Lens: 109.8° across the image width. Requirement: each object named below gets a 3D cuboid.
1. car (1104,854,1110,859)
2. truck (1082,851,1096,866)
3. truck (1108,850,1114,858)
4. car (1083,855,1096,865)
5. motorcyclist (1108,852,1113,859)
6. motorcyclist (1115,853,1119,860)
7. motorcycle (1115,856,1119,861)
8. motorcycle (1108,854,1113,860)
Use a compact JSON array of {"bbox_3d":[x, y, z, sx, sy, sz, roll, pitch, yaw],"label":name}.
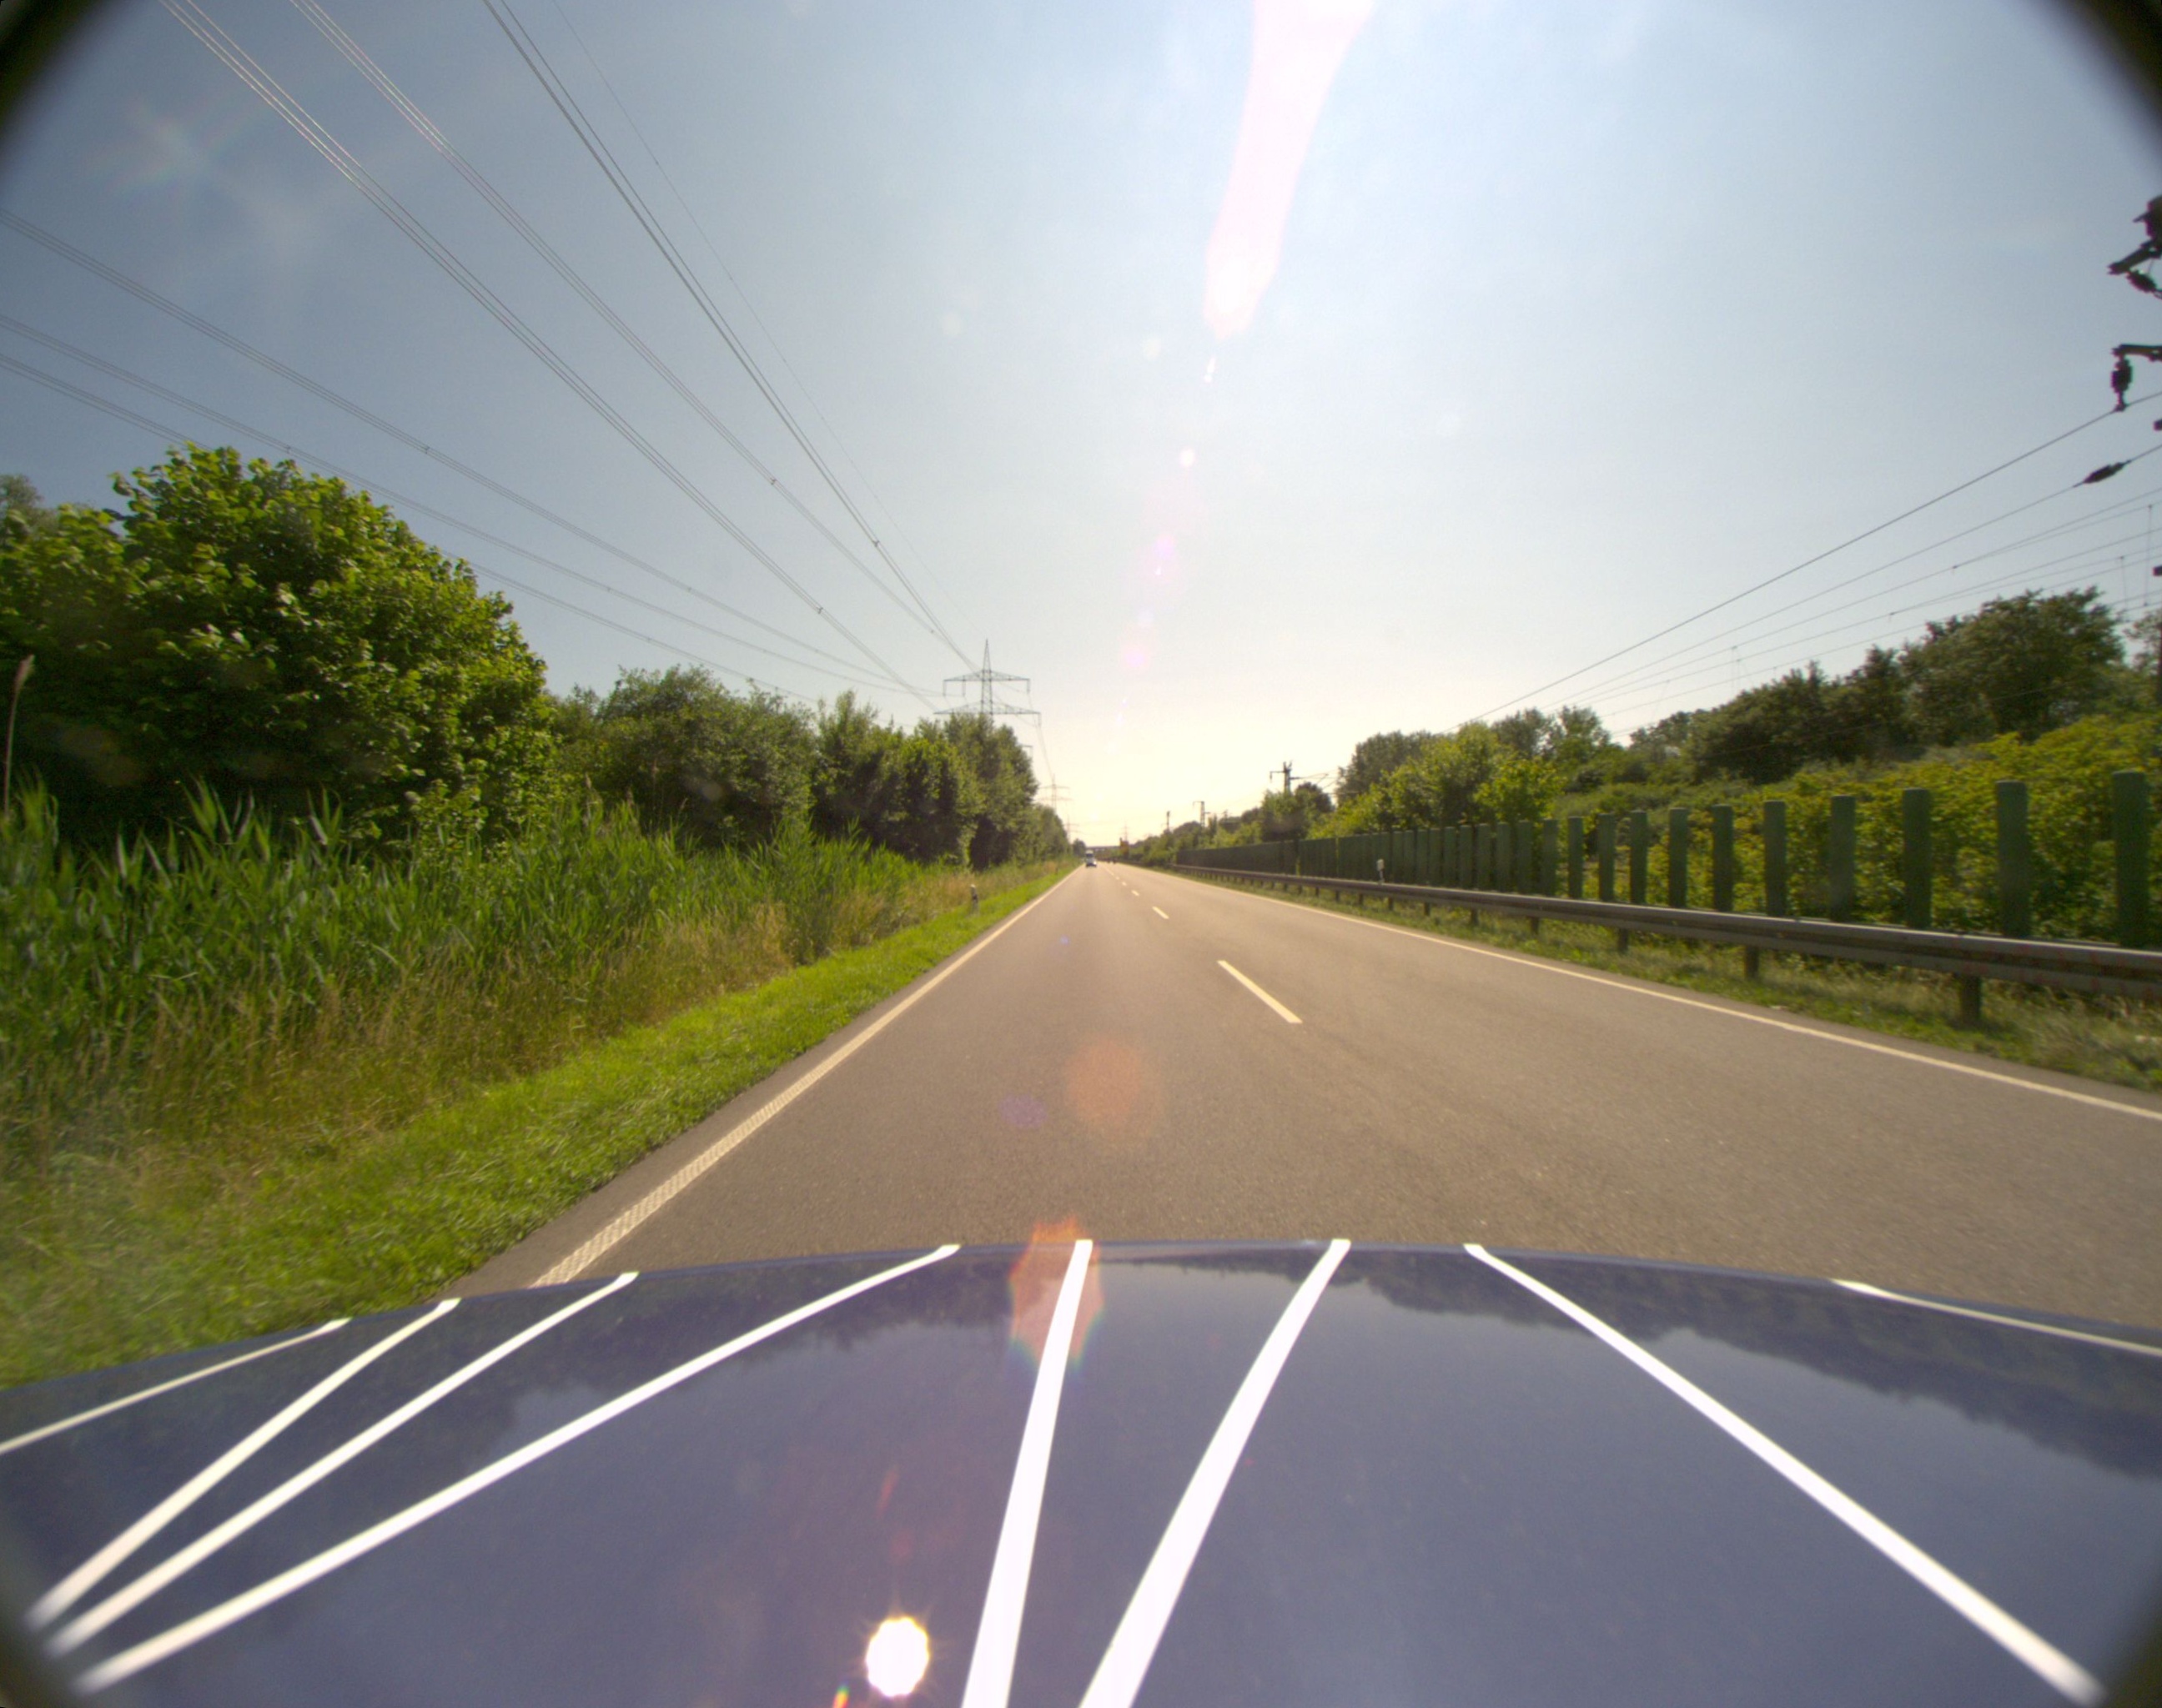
[{"bbox_3d":[8.557,0.894,246.006,1.819,1.684,4.706,-2,0,1],"label":"car"},{"bbox_3d":[2.656,1.470,259.838,4.219,4.608,21.304,-3,0,0],"label":"truck"},{"bbox_3d":[10.452,-0.035,264.090,2.085,2.631,5.704,-2,0,1],"label":"truck"},{"bbox_3d":[1.286,0.874,117.613,1.998,1.346,4.157,-3,0,0],"label":"car"},{"bbox_3d":[7.130,0.445,184.087,0.961,1.600,1.003,-3,1,2],"label":"motorcyclist"},{"bbox_3d":[7.682,0.566,161.259,0.751,1.574,0.864,-3,1,2],"label":"motorcyclist"},{"bbox_3d":[7.733,0.974,162.101,0.756,1.008,2.721,-3,0,3],"label":"motorcycle"},{"bbox_3d":[7.129,0.734,183.756,0.970,1.487,2.630,-3,0,3],"label":"motorcycle"}]
